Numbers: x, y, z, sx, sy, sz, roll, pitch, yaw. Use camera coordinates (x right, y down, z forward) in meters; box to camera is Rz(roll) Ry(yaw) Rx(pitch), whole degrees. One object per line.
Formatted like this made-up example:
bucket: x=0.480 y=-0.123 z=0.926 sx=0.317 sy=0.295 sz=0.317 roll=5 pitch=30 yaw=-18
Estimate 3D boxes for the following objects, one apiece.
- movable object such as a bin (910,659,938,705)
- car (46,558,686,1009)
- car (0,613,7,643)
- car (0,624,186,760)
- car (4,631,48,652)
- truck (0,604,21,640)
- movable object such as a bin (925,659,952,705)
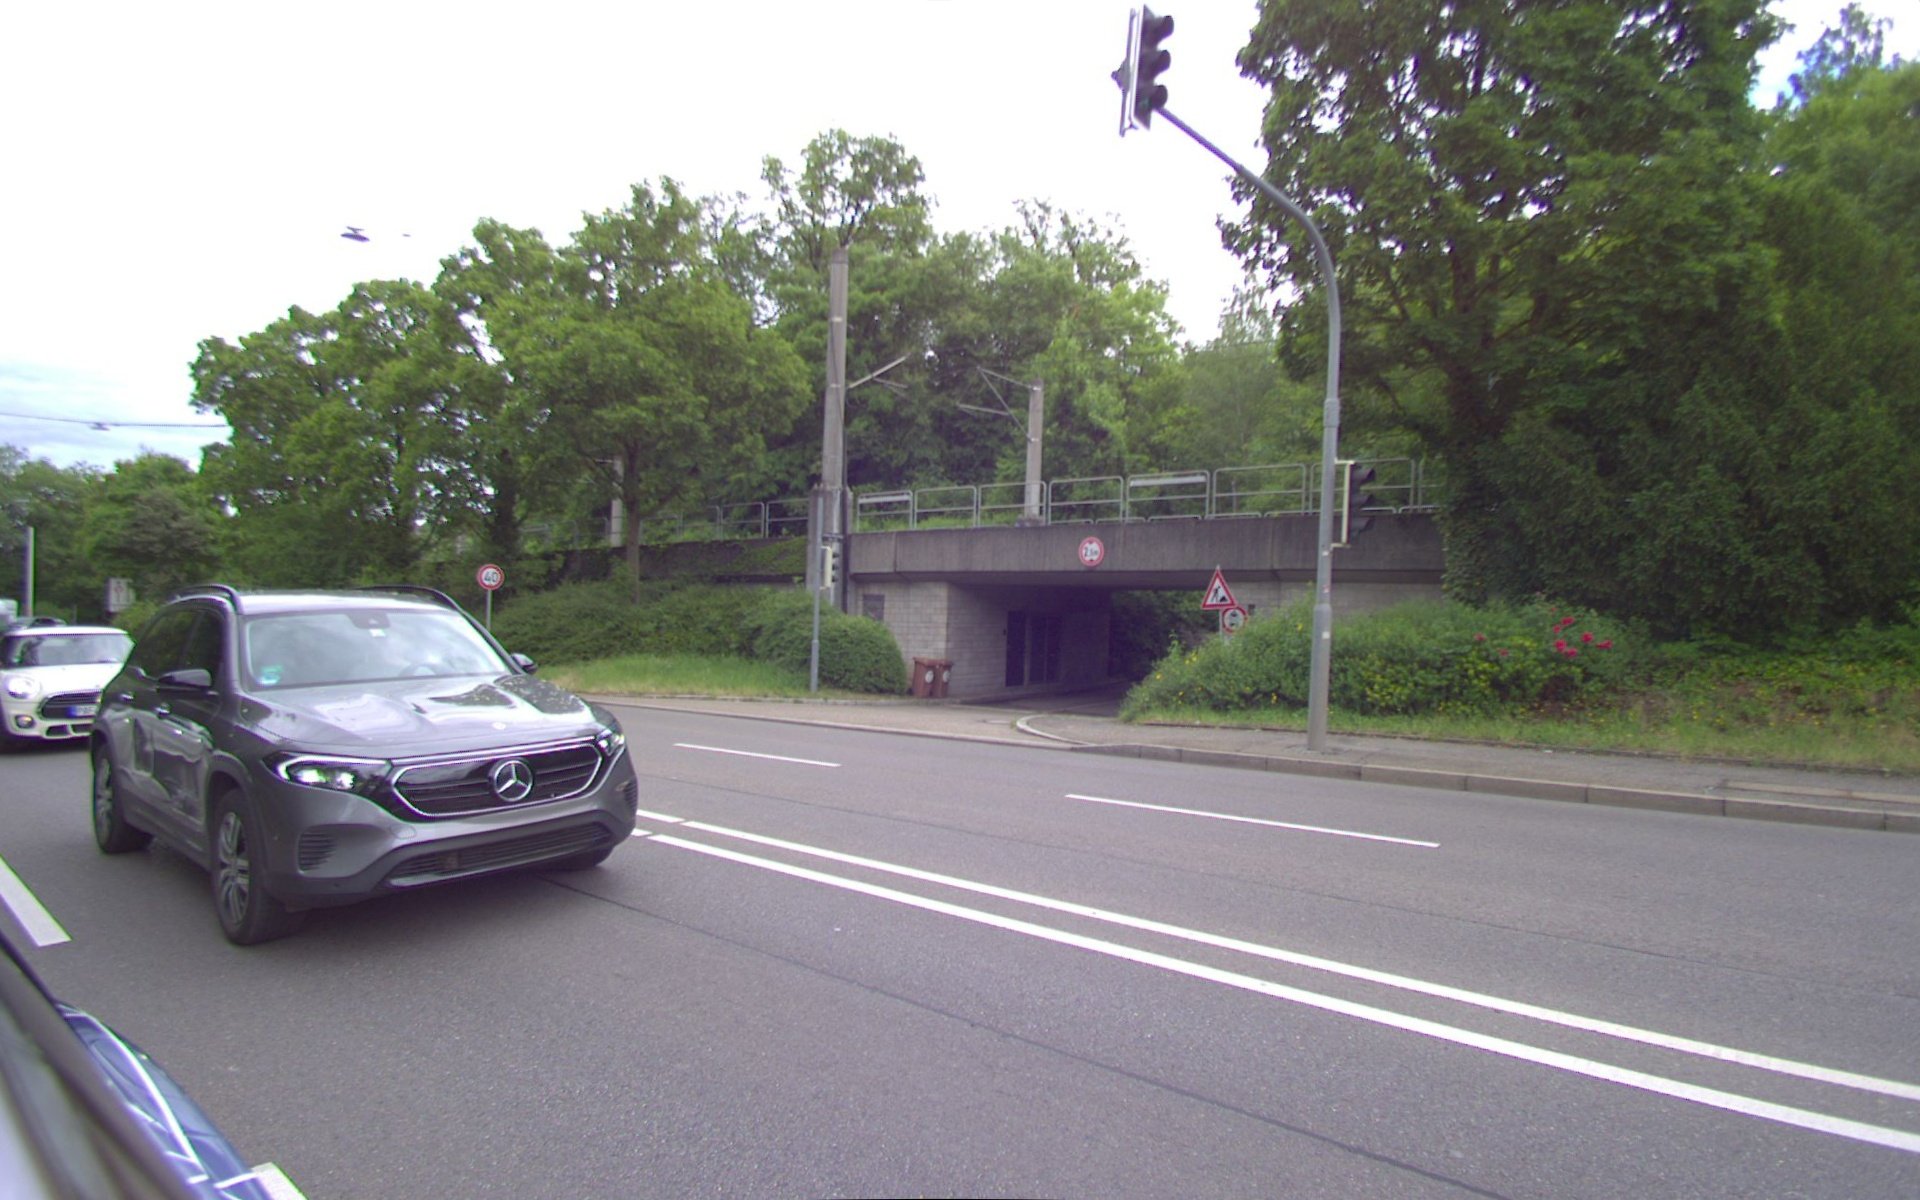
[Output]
movable object such as a bin: x=-0.853 y=1.923 z=23.822 sx=0.503 sy=1.071 sz=0.414 roll=-1 pitch=-3 yaw=36
car: x=-3.645 y=0.720 z=5.847 sx=4.353 sy=1.664 sz=1.831 roll=-1 pitch=-1 yaw=40
car: x=-72.610 y=2.070 z=74.384 sx=2.247 sy=2.217 sz=6.478 roll=0 pitch=-1 yaw=-30
car: x=-11.138 y=1.031 z=12.604 sx=3.731 sy=1.435 sz=1.667 roll=-1 pitch=-1 yaw=41
car: x=-82.856 y=3.702 z=89.826 sx=1.748 sy=1.814 sz=4.013 roll=1 pitch=-3 yaw=-27
truck: x=-85.823 y=1.906 z=88.785 sx=2.164 sy=3.180 sz=6.670 roll=2 pitch=-3 yaw=-17
movable object such as a bin: x=-0.511 y=1.970 z=24.357 sx=0.503 sy=1.071 sz=0.414 roll=-1 pitch=-3 yaw=36
